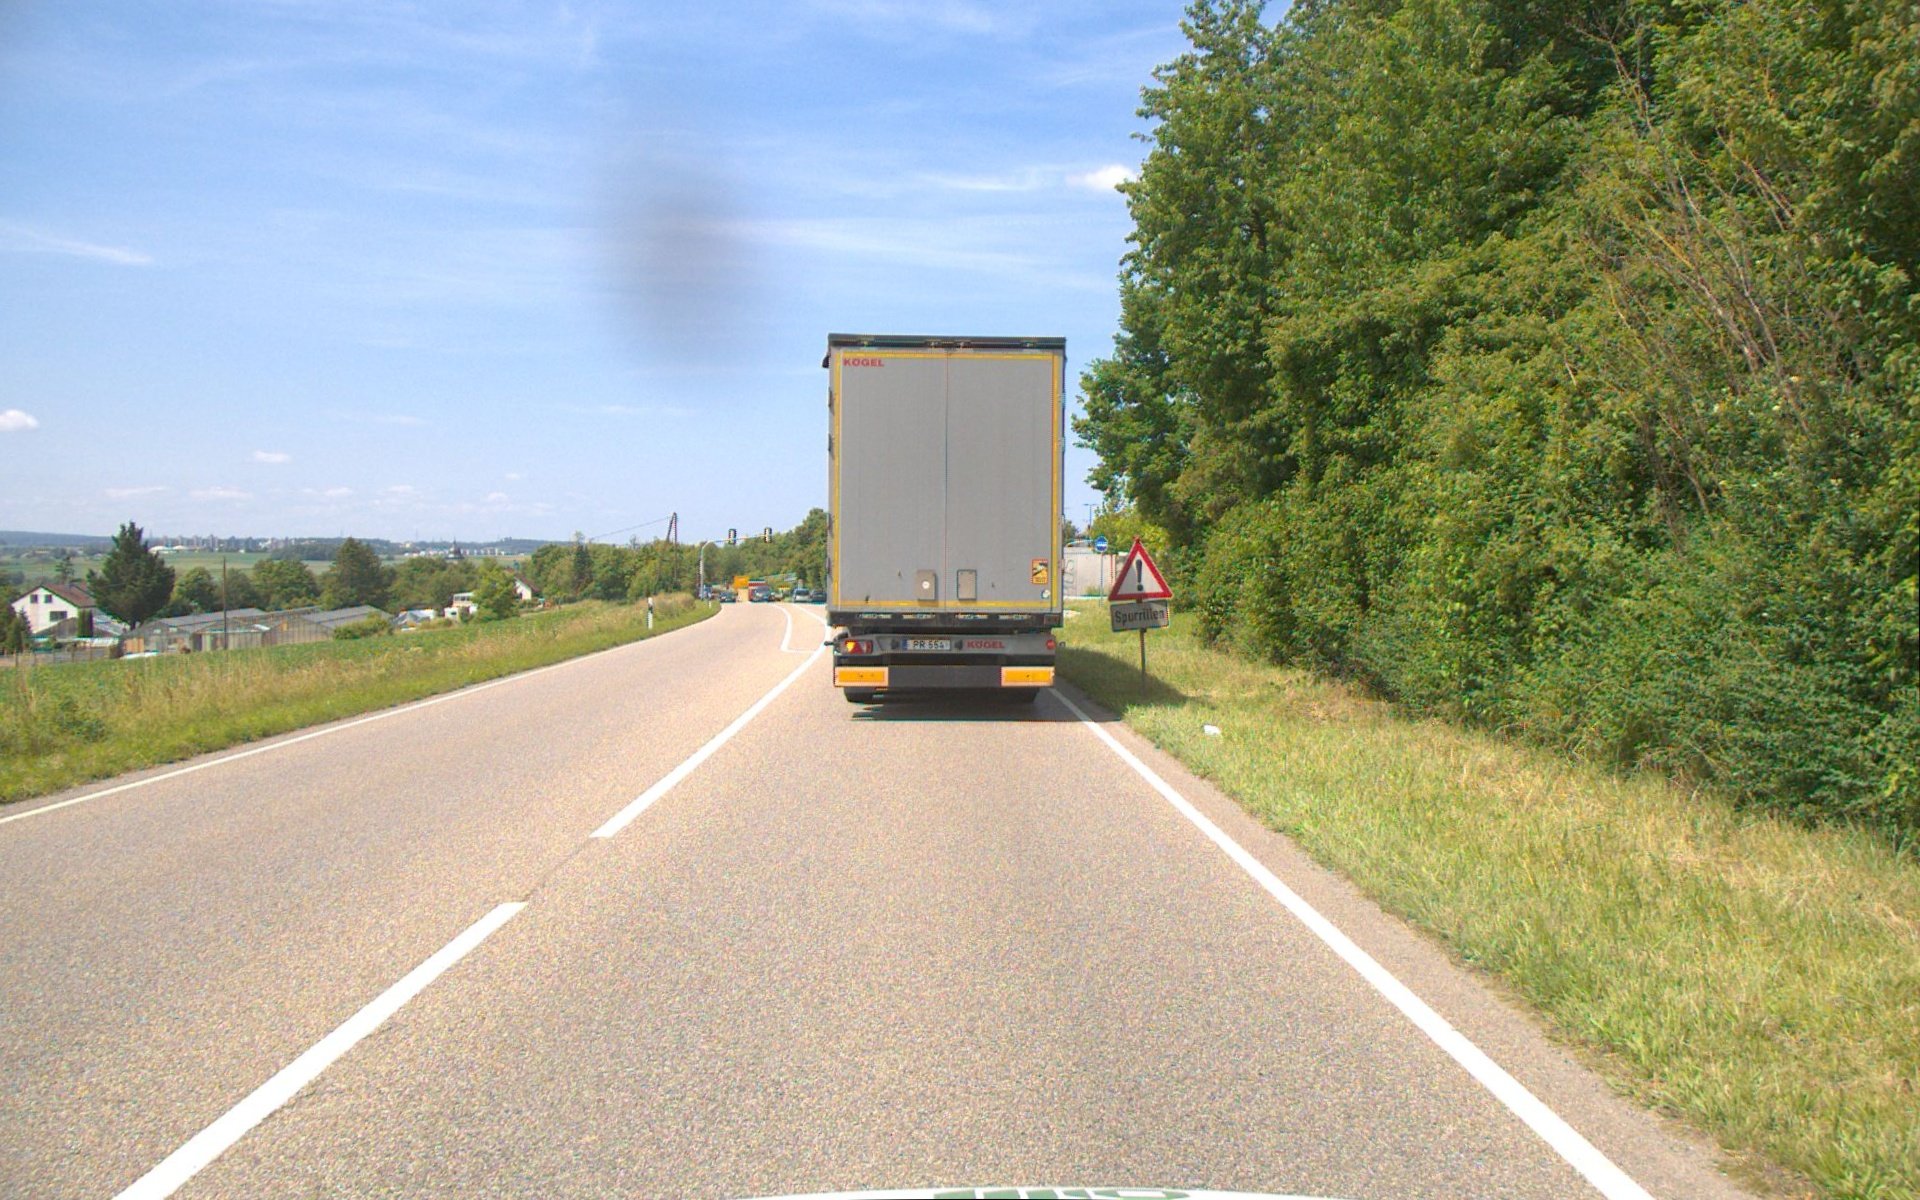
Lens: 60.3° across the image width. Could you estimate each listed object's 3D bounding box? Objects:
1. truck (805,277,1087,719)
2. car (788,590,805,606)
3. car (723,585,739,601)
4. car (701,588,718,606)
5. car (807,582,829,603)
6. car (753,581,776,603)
[{"bbox_3d":[-0.313,-1.106,21.366,2.849,4.486,8.856,0,1,-2],"label":"truck"},{"bbox_3d":[-18.867,-0.237,190.655,1.855,1.807,4.382,-2,1,-5],"label":"car"},{"bbox_3d":[-29.213,-0.895,211.104,1.956,1.847,4.288,-3,1,-8],"label":"car"},{"bbox_3d":[-30.648,-0.377,202.217,1.957,2.012,5.269,-3,1,-8],"label":"car"},{"bbox_3d":[-14.775,-0.751,172.011,2.129,2.048,4.522,-2,1,-5],"label":"car"},{"bbox_3d":[-18.302,-0.736,154.667,1.955,1.983,4.497,-3,1,-6],"label":"car"}]
